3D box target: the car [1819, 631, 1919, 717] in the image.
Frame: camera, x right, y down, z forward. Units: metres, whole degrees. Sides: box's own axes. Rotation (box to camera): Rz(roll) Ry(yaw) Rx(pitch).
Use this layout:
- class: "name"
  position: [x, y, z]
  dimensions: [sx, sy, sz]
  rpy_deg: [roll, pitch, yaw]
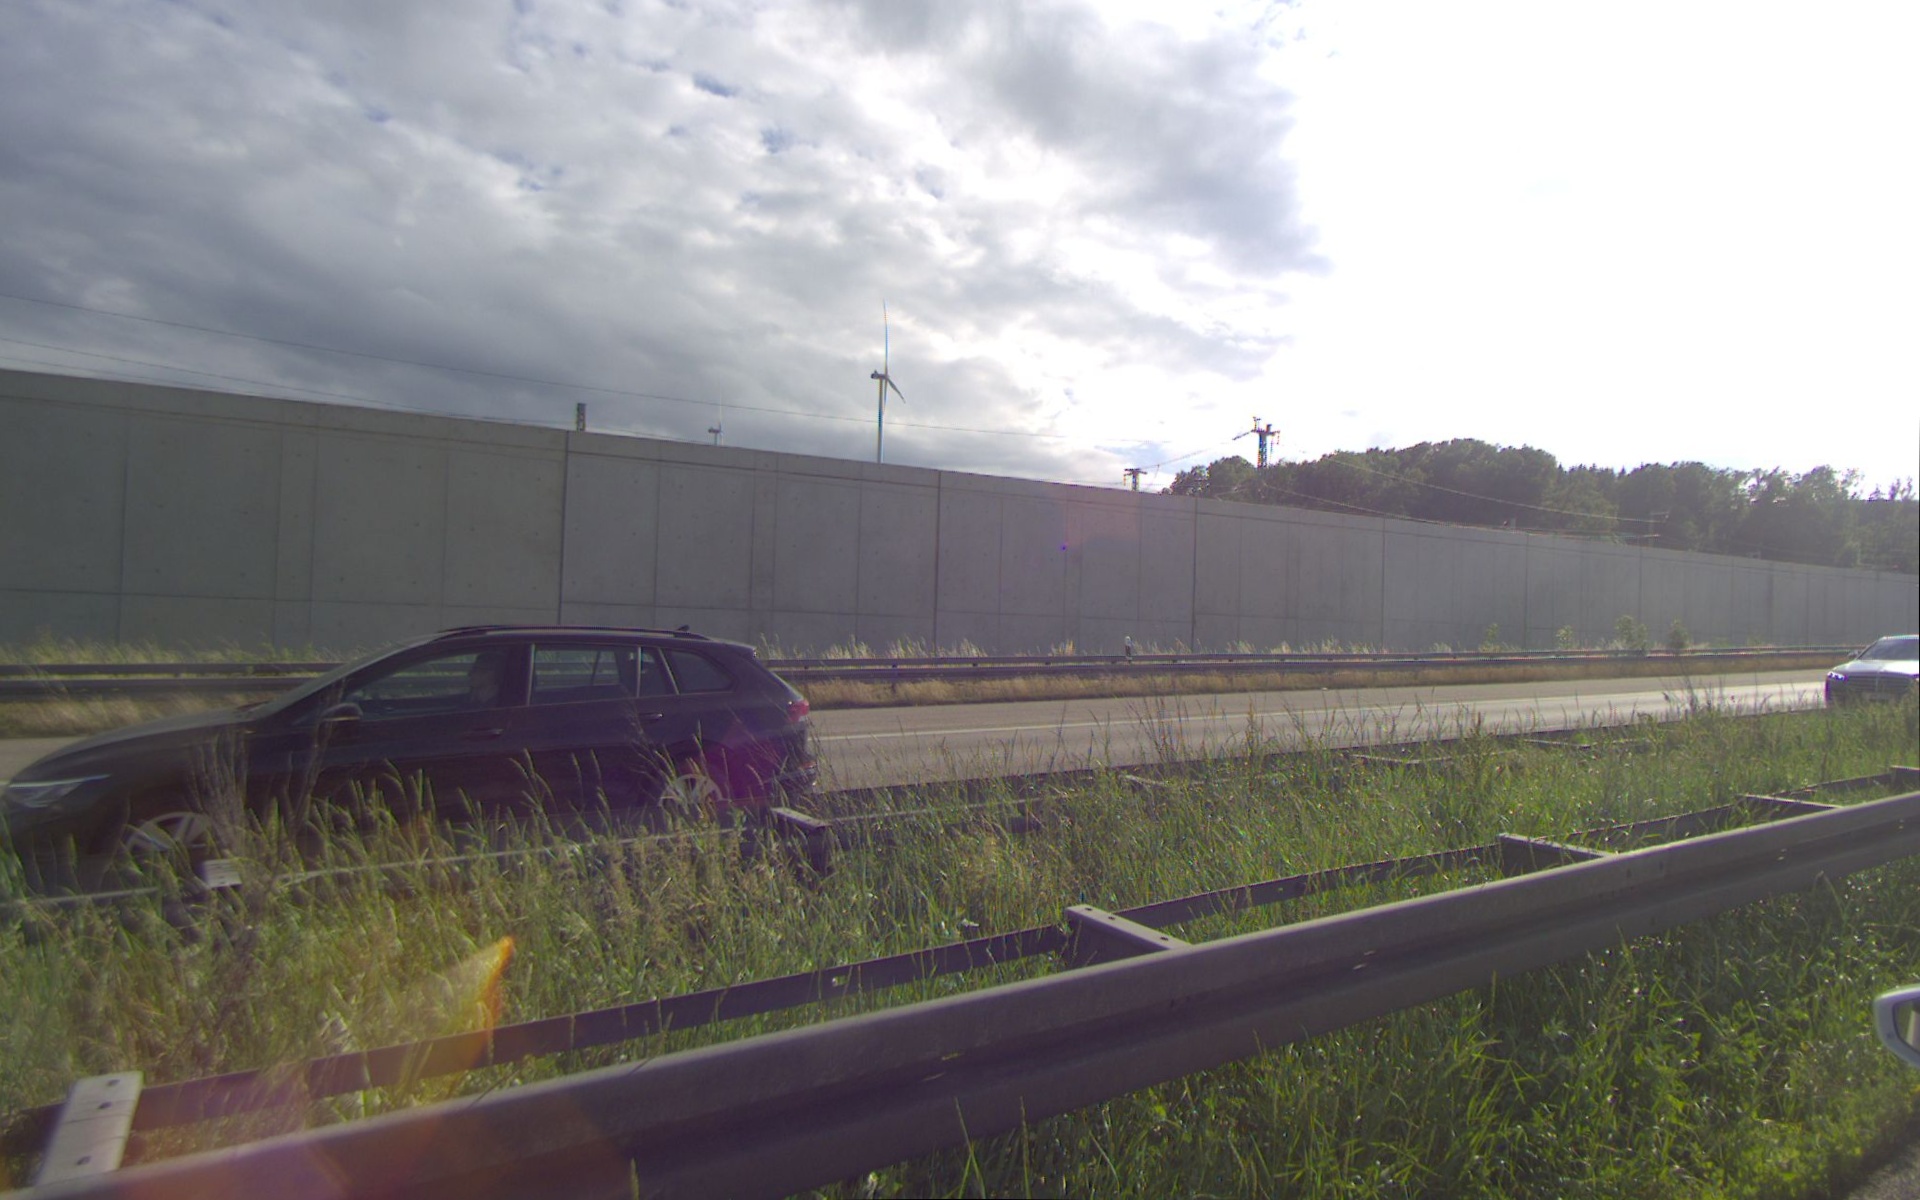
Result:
- class: "car"
  position: [19.509, 1.457, 20.337]
  dimensions: [4.636, 1.536, 1.794]
  rpy_deg: [2, 0, -30]

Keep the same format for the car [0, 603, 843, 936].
- class: "car"
  position: [-3.181, 0.851, 6.632]
  dimensions: [4.351, 1.506, 1.982]
  rpy_deg: [2, 0, -33]

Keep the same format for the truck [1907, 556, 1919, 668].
- class: "truck"
  position: [35.710, 0.468, 35.008]
  dimensions: [5.354, 3.848, 2.540]
  rpy_deg: [2, -2, -31]
